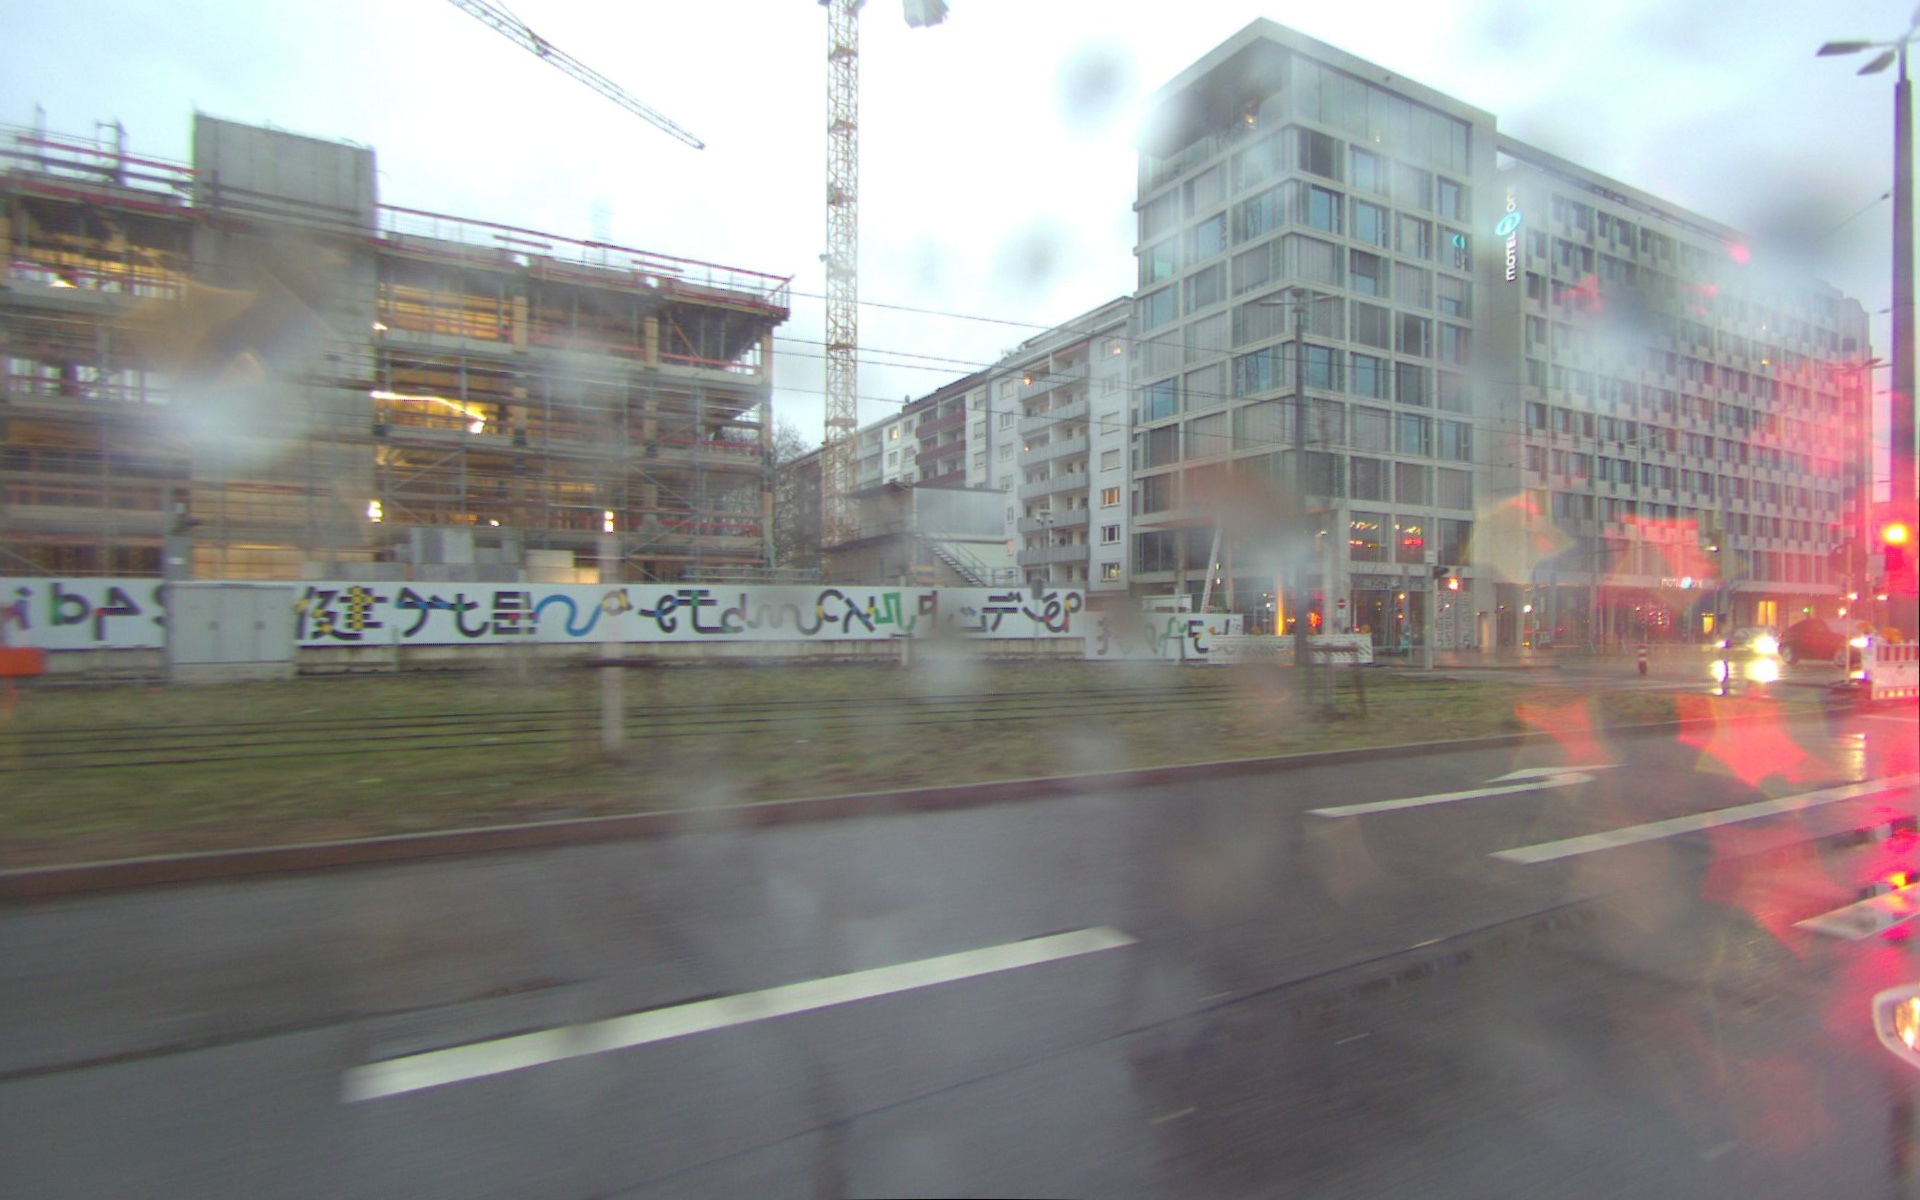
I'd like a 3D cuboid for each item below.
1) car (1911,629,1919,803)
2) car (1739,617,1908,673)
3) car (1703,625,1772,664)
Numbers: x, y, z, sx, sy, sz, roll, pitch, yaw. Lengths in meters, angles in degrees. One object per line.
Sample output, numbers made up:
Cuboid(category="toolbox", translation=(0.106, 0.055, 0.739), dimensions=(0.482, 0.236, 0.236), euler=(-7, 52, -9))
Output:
Cuboid(category="car", translation=(10.420, 1.002, 8.863), dimensions=(4.320, 1.475, 1.982), euler=(1, -1, -32))
Cuboid(category="car", translation=(29.637, 1.495, 34.702), dimensions=(1.863, 1.743, 4.712), euler=(2, -1, 2))
Cuboid(category="car", translation=(33.696, 1.883, 43.635), dimensions=(1.731, 1.550, 4.319), euler=(2, 0, 30))
